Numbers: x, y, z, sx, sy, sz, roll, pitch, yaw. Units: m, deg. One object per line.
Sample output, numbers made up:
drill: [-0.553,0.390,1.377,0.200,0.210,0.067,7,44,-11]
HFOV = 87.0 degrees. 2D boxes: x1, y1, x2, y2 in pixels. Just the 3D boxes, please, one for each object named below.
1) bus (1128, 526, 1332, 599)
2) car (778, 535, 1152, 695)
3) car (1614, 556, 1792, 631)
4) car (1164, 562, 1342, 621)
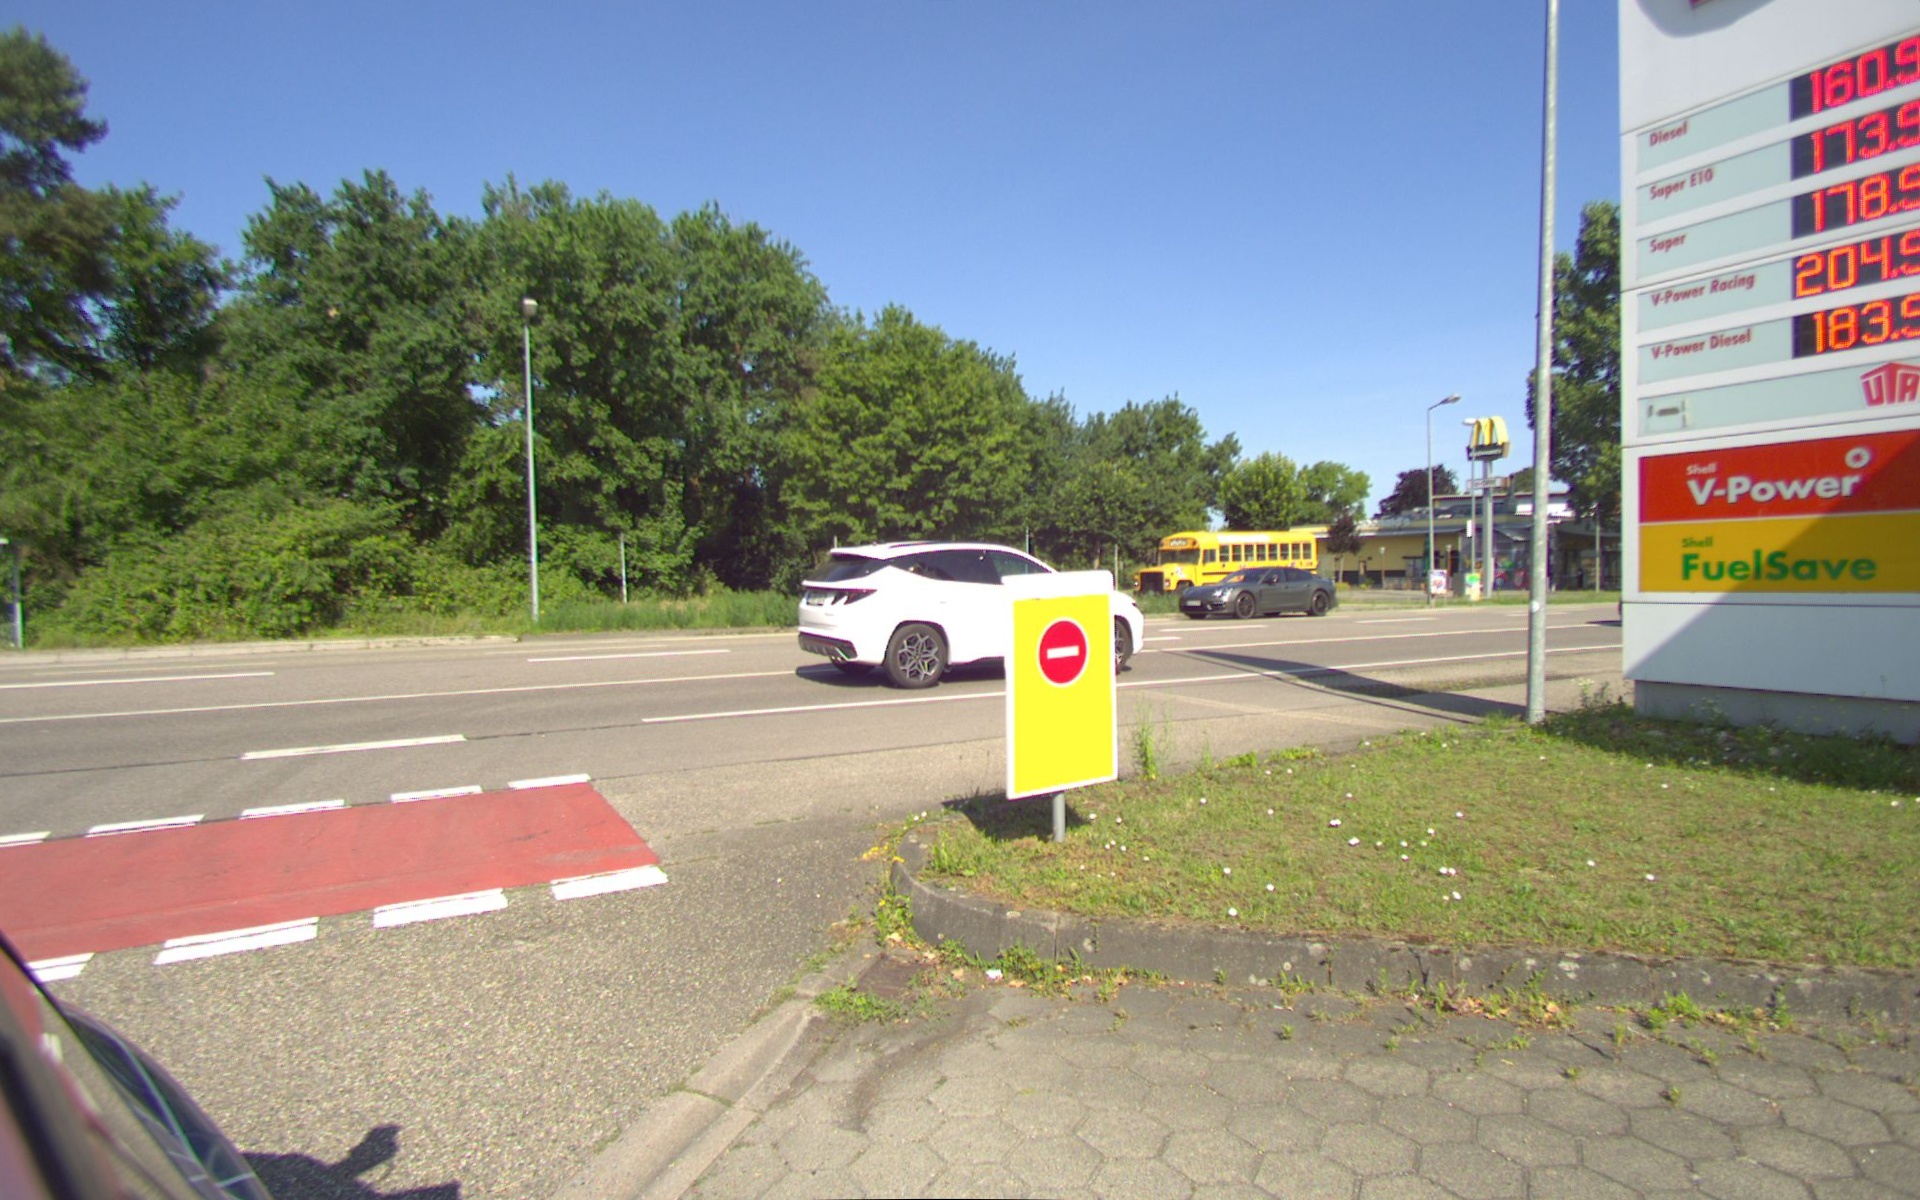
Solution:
bus: [11.030,-1.498,40.871,8.845,2.699,2.595,-1,3,-32]
car: [0.110,0.082,12.390,4.234,1.660,1.820,-1,3,-30]
car: [16.041,-0.200,21.826,3.986,1.441,1.657,-2,4,-31]
car: [8.089,-0.232,27.803,4.827,1.507,1.858,-1,-1,-30]
